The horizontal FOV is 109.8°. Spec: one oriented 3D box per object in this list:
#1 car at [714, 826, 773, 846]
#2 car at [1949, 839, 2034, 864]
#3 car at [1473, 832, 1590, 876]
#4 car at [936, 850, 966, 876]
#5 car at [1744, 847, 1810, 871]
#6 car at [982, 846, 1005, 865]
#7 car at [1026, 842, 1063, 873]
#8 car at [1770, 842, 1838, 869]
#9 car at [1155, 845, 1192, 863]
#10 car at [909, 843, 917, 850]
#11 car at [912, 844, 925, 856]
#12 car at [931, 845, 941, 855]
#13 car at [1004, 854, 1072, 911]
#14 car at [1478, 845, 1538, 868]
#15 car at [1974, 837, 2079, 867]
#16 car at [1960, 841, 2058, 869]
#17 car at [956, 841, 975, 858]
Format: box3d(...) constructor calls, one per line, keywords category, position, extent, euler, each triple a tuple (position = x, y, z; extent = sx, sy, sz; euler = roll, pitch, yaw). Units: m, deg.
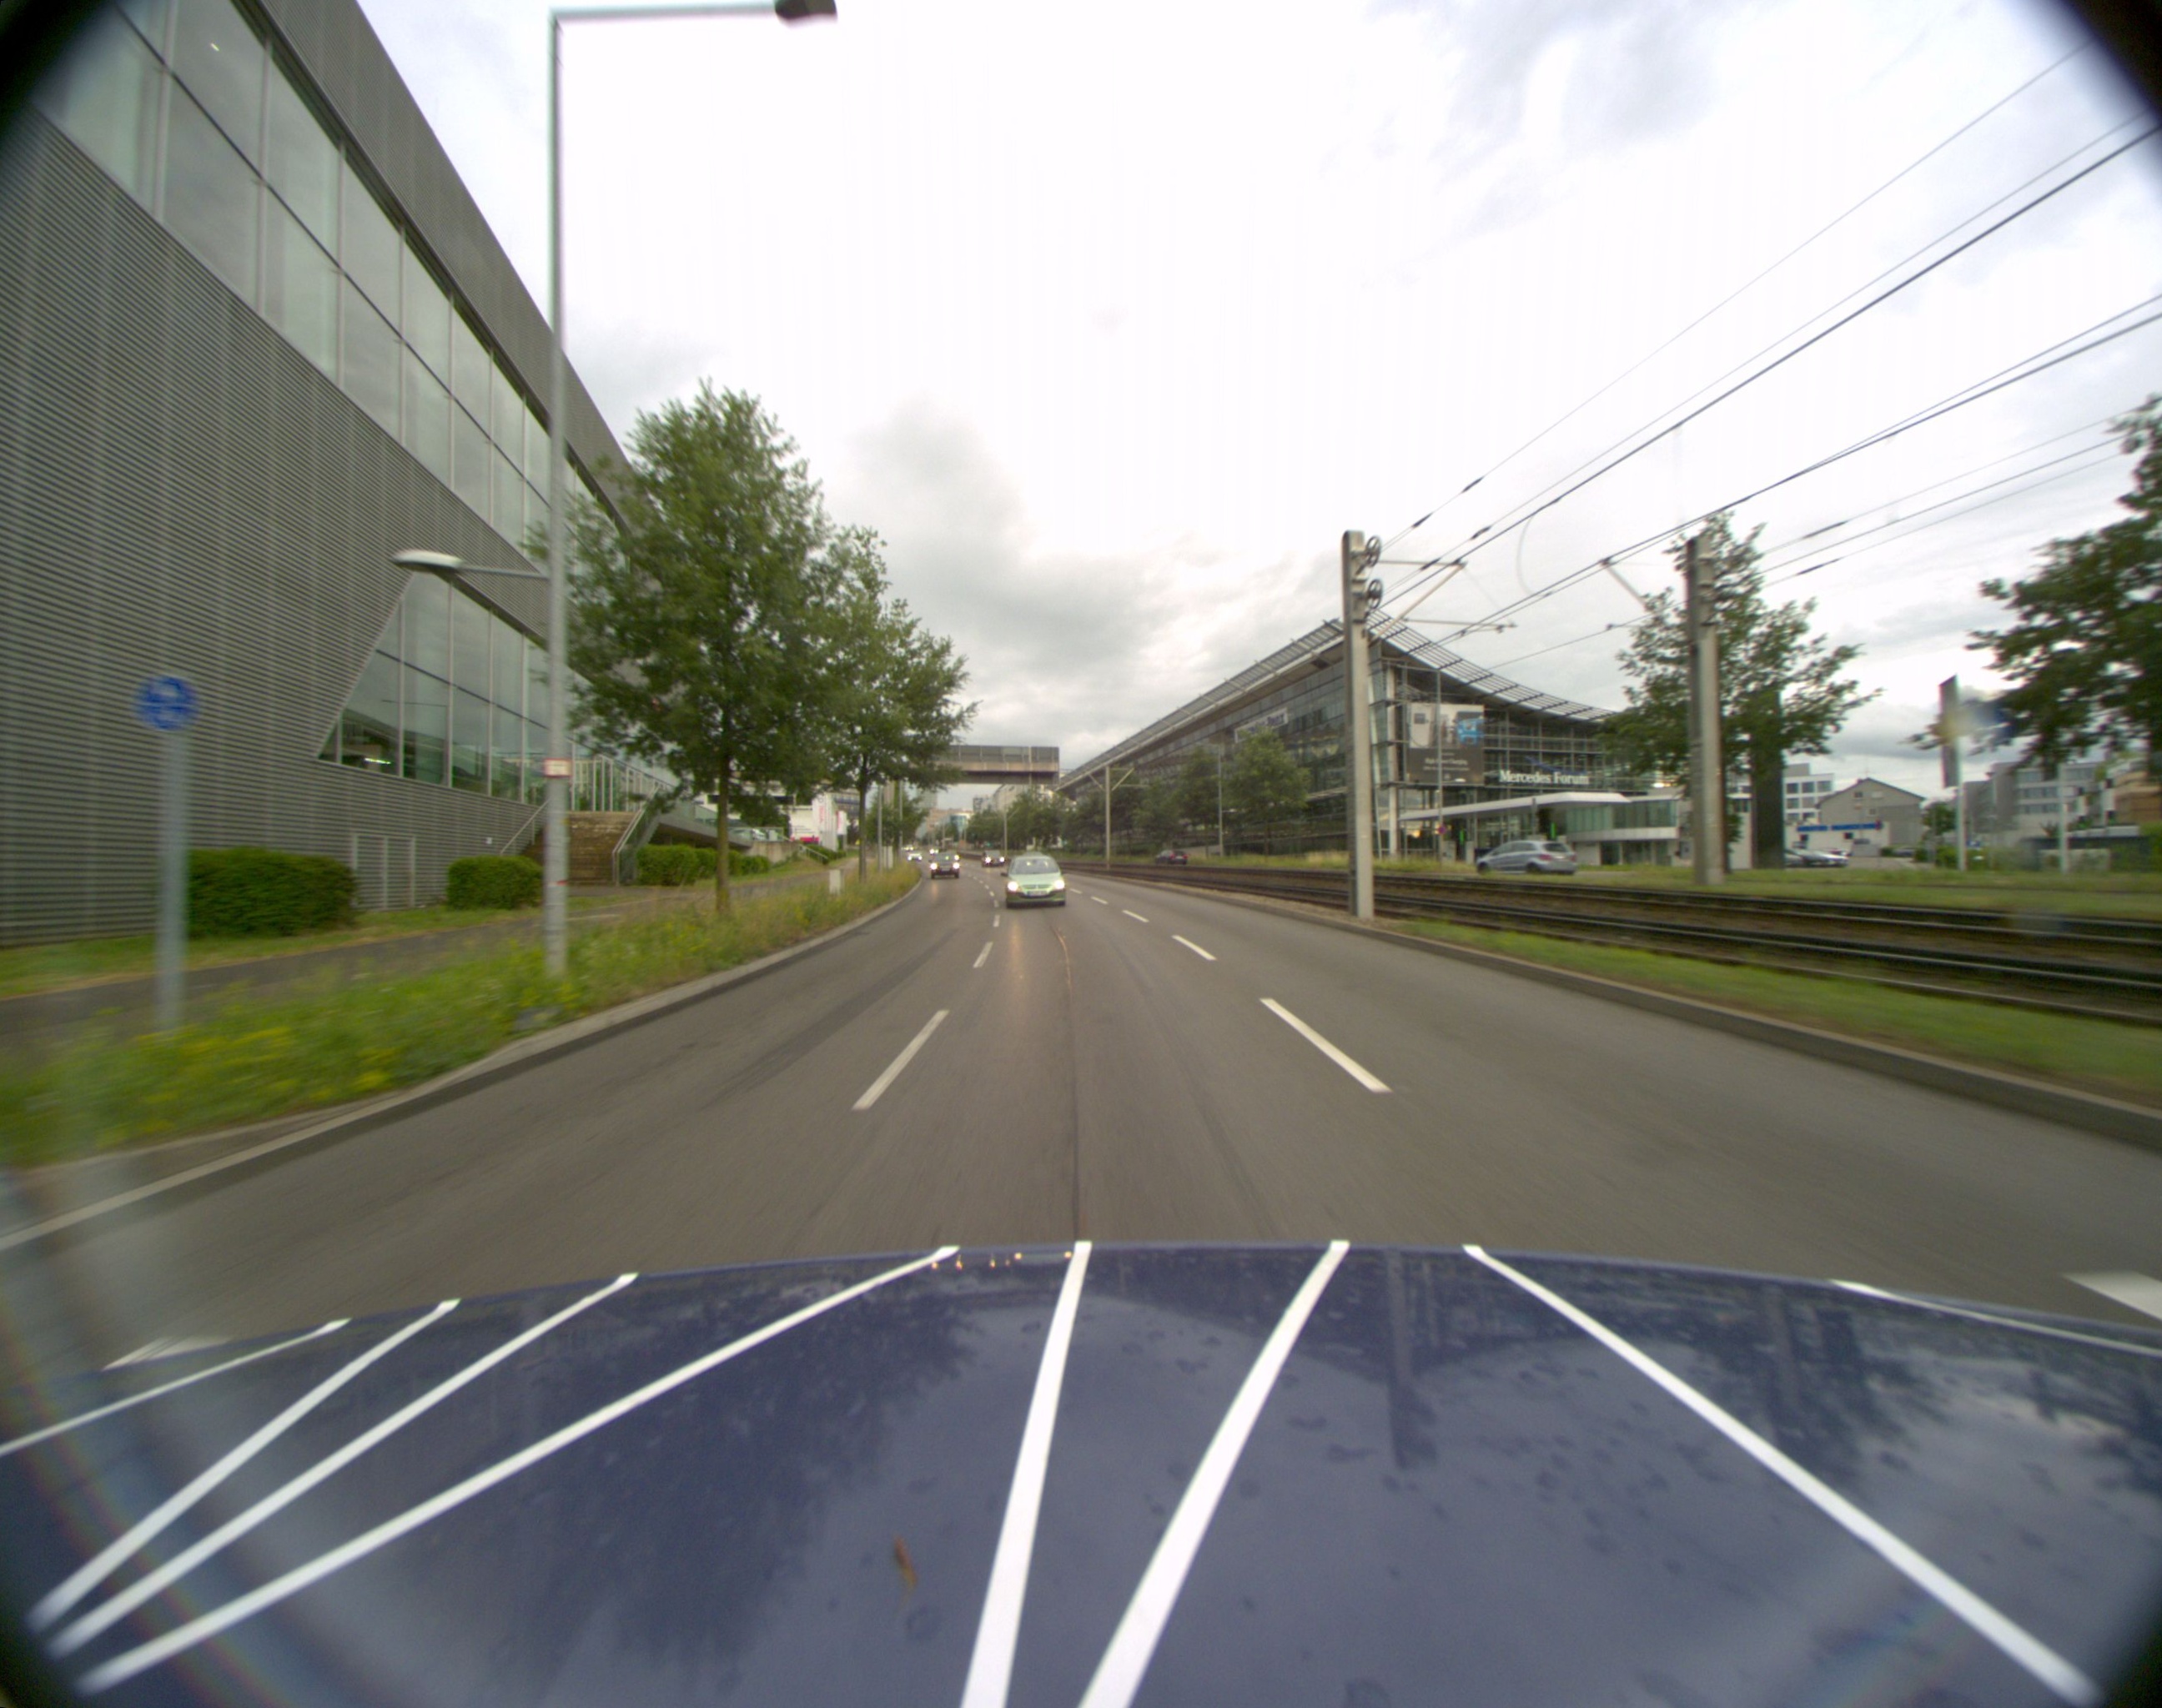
box3d(category="car", position=(-28.686, -1.523, 64.701), extent=(4.275, 1.565, 1.690), euler=(-2, 1, -16))
box3d(category="car", position=(69.179, -0.226, 57.828), extent=(2.003, 1.718, 3.988), euler=(-4, 3, -42))
box3d(category="car", position=(18.829, -0.020, 31.980), extent=(2.001, 1.670, 3.995), euler=(-2, 1, -13))
box3d(category="car", position=(-8.528, 0.573, 49.926), extent=(1.830, 1.599, 4.110), euler=(-2, 0, -9))
box3d(category="car", position=(55.925, 0.373, 61.165), extent=(1.781, 1.700, 3.746), euler=(-2, 2, -3))
box3d(category="car", position=(-8.794, 0.132, 76.074), extent=(1.862, 1.799, 4.109), euler=(-2, 0, -12))
box3d(category="car", position=(-2.679, 0.232, 54.785), extent=(2.000, 2.003, 3.994), euler=(-2, 2, -12))
box3d(category="car", position=(59.164, 0.105, 62.251), extent=(1.907, 2.003, 3.743), euler=(-2, 2, -3))
box3d(category="car", position=(8.198, -0.028, 67.669), extent=(1.890, 1.512, 4.398), euler=(2, 0, -12))
box3d(category="car", position=(-47.936, -2.075, 217.053), extent=(2.001, 1.839, 3.994), euler=(-2, 2, -13))
box3d(category="car", position=(-24.419, -0.578, 114.341), extent=(1.862, 1.799, 4.109), euler=(-2, 0, -12))
box3d(category="car", position=(-31.152, -0.845, 163.222), extent=(2.001, 2.003, 3.994), euler=(-2, 2, -13))
box3d(category="car", position=(-1.405, 0.794, 23.329), extent=(1.829, 1.499, 4.111), euler=(-2, 0, -6))
box3d(category="car", position=(36.042, 0.195, 64.151), extent=(1.898, 1.840, 3.988), euler=(-4, 3, -41))
box3d(category="car", position=(59.695, -0.162, 48.084), extent=(2.003, 1.718, 3.988), euler=(-4, 3, -42))
box3d(category="car", position=(61.353, 0.039, 50.331), extent=(2.003, 1.718, 3.988), euler=(-4, 3, -42))
box3d(category="car", position=(-14.460, -0.605, 94.982), extent=(2.000, 2.003, 3.994), euler=(-2, 2, -11))
